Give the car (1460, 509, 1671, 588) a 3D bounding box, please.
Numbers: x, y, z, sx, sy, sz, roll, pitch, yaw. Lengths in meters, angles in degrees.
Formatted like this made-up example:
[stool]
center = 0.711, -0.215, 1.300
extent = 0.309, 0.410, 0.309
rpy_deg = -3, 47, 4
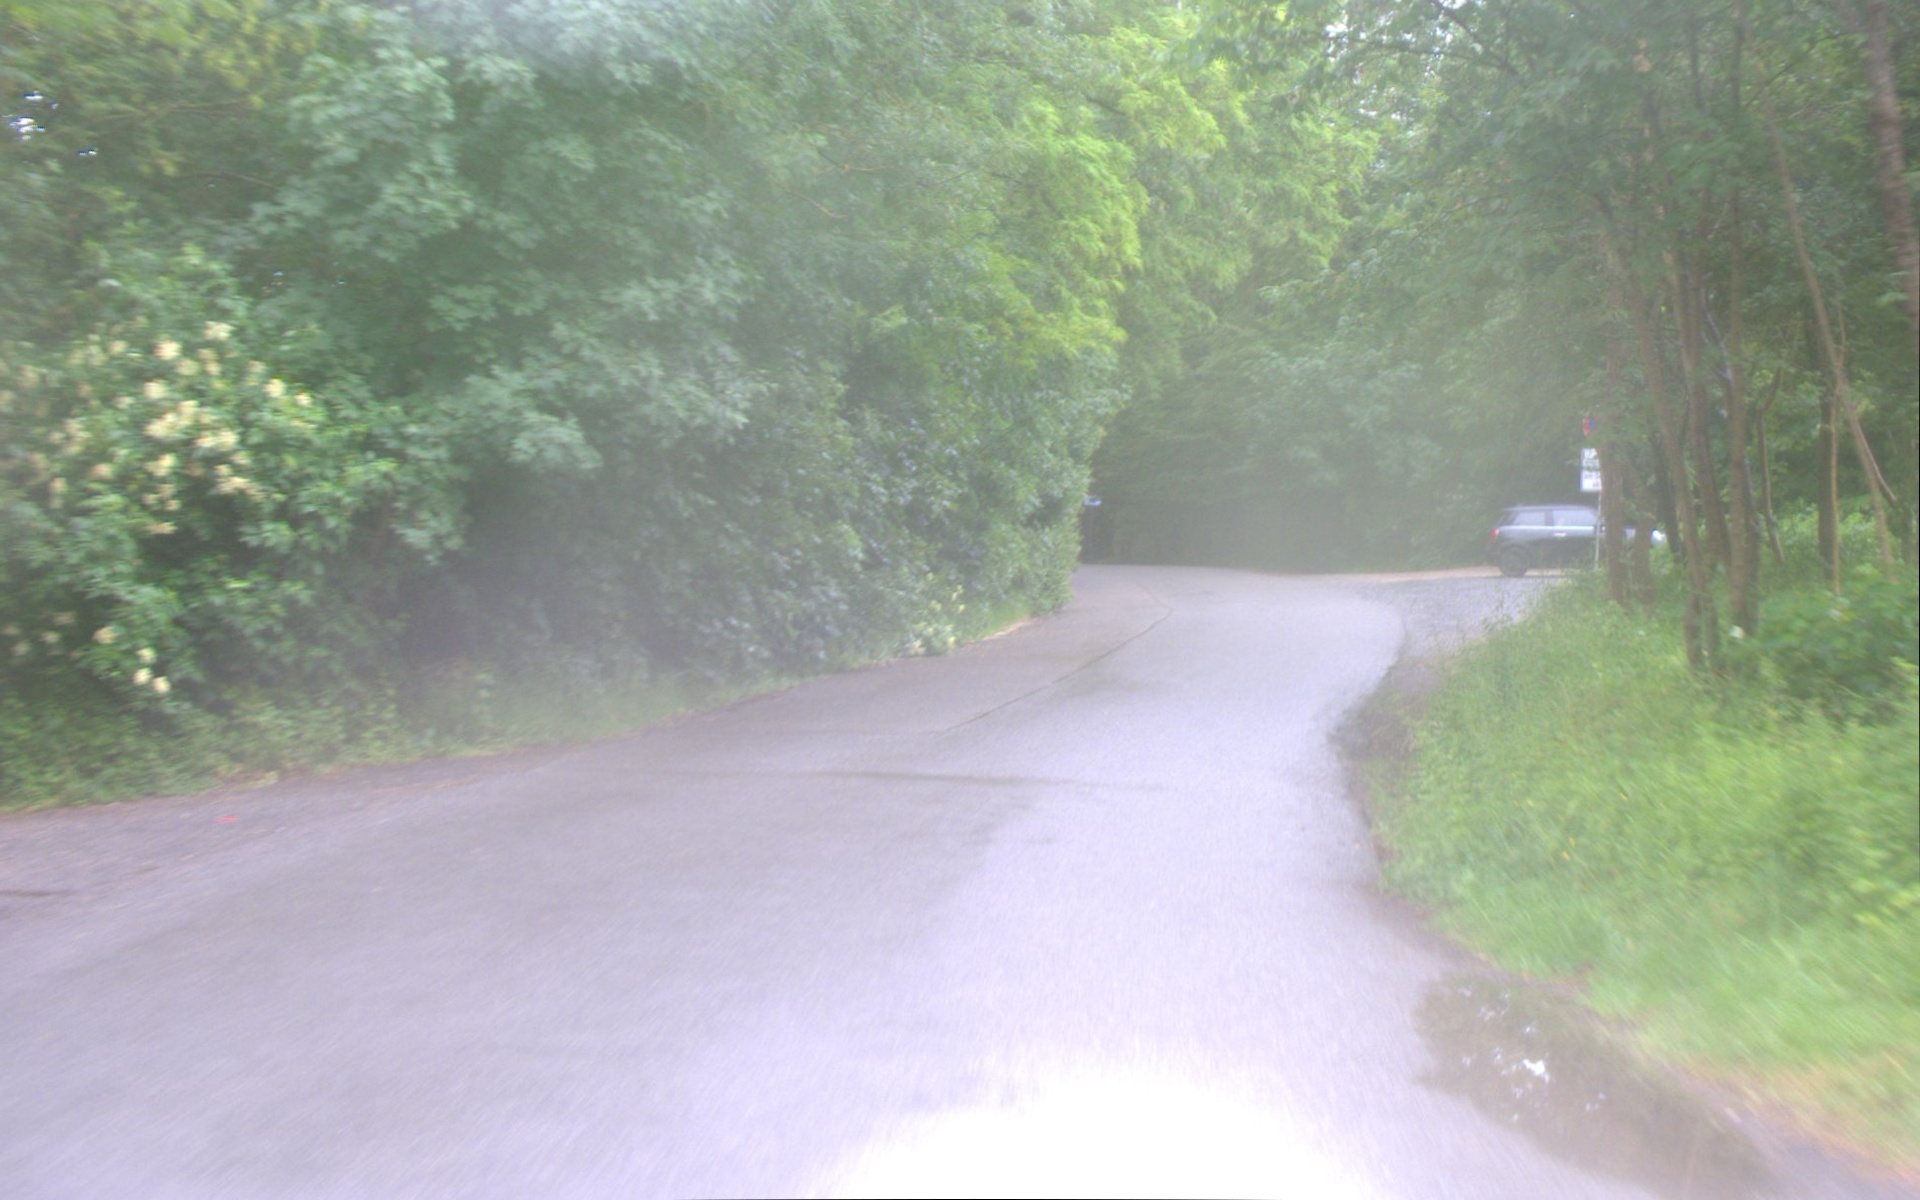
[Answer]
[car]
center = 11.996, -1.031, 68.340
extent = 3.988, 1.386, 2.000
rpy_deg = -2, 2, 7
